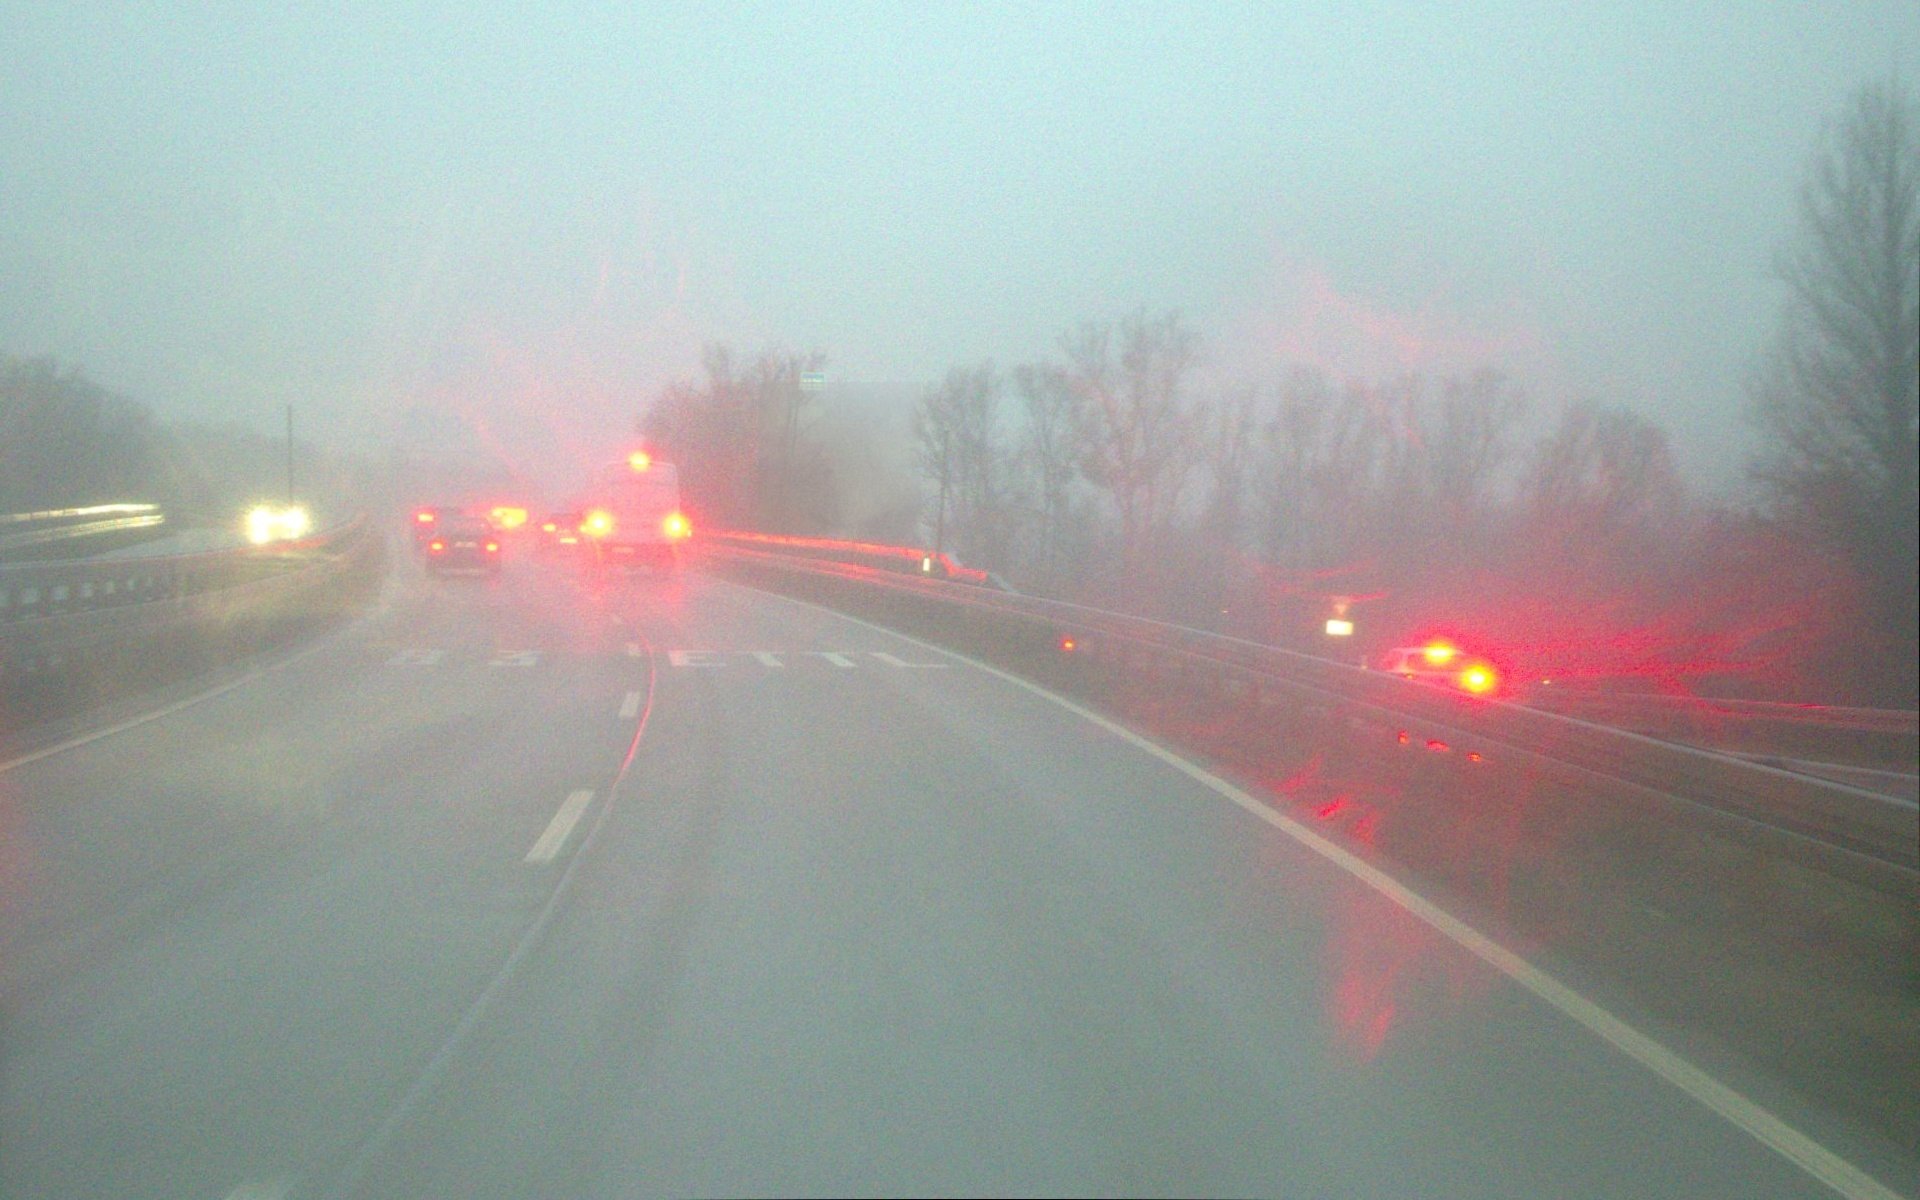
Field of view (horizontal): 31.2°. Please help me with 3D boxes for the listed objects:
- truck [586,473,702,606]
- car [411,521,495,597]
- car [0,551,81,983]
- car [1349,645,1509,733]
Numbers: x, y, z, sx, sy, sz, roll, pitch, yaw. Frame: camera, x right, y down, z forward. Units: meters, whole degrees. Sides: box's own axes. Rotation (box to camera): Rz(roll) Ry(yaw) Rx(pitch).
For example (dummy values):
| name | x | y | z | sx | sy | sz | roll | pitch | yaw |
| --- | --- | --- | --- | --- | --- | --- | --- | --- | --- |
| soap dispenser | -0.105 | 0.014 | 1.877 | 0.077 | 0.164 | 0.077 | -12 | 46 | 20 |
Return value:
| name | x | y | z | sx | sy | sz | roll | pitch | yaw |
| --- | --- | --- | --- | --- | --- | --- | --- | --- | --- |
| truck | -7.593 | -1.398 | 82.288 | 2.382 | 2.899 | 4.675 | 1 | -2 | -9 |
| car | -11.944 | -0.938 | 80.880 | 1.834 | 1.532 | 4.000 | 2 | -2 | -9 |
| car | -3.844 | 0.530 | 10.090 | 1.625 | 1.387 | 4.000 | 2 | 1 | -3 |
| car | 8.552 | 1.606 | 63.050 | 1.675 | 1.277 | 4.001 | 8 | -1 | -9 |
